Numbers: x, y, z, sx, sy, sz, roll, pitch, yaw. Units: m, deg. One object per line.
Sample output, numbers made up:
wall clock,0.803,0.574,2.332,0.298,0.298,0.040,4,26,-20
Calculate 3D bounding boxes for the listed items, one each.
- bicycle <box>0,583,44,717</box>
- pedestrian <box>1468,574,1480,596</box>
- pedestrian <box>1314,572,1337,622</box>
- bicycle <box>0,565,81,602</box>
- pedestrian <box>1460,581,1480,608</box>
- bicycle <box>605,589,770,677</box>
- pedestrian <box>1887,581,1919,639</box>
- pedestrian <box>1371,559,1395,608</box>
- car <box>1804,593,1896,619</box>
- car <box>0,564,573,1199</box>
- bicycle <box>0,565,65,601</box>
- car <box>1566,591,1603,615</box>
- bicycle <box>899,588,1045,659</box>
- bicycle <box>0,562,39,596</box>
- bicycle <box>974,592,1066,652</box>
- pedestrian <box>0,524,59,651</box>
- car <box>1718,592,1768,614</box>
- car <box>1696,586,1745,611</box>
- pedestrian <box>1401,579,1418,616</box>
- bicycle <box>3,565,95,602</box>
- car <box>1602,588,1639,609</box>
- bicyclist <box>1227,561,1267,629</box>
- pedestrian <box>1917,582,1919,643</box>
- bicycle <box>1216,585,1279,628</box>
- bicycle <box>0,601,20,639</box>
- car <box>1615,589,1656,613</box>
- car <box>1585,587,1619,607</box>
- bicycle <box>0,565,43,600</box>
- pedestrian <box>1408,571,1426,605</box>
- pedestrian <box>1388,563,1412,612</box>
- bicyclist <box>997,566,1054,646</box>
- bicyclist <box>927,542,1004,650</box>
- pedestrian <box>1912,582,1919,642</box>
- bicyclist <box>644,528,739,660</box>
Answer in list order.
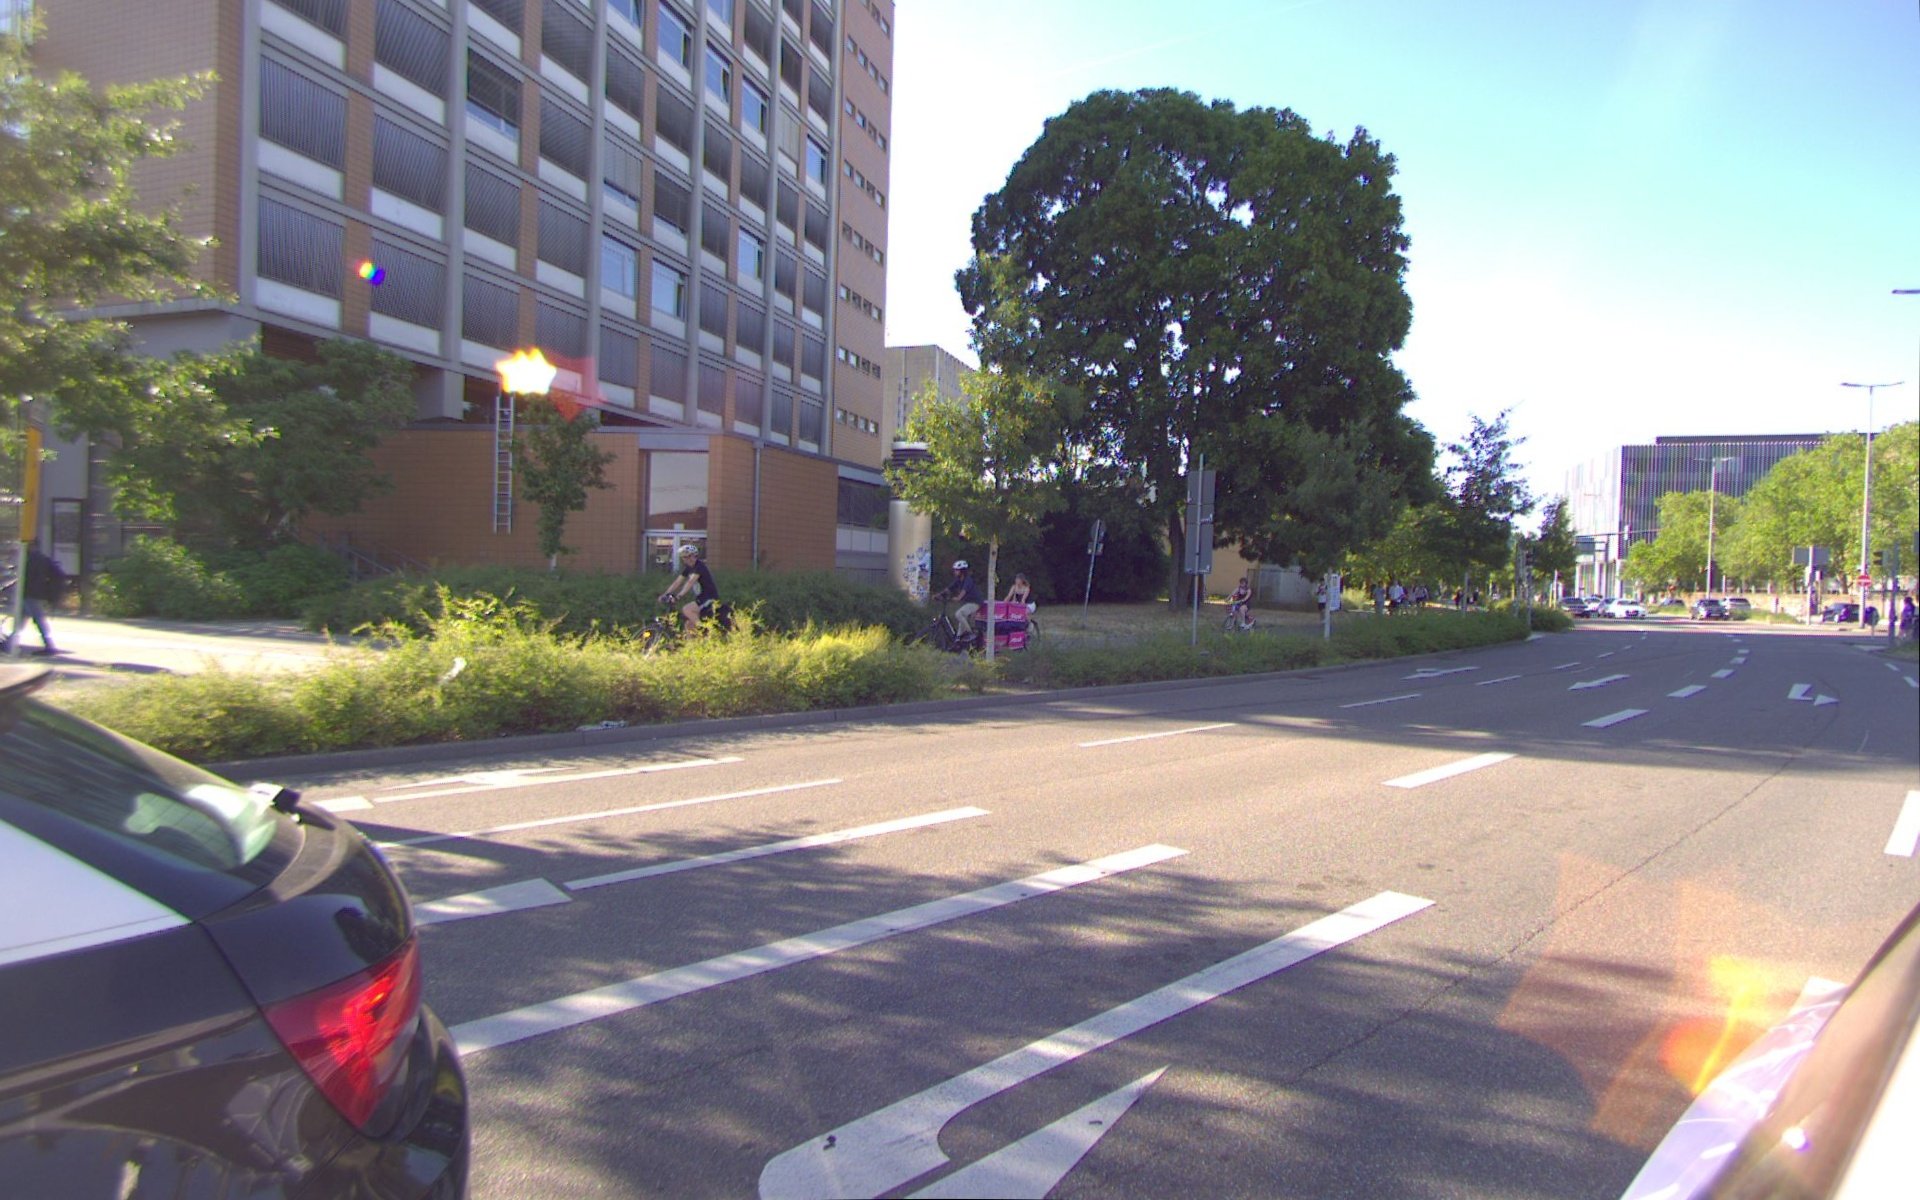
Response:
bicycle,-9.591,0.451,8.906,2.252,1.169,0.779,0,4,-42
pedestrian,40.853,-1.197,80.422,0.705,1.734,0.728,2,1,24
pedestrian,12.966,-0.106,35.884,0.618,1.720,0.623,2,1,32
bicycle,-22.976,-0.417,25.175,0.522,0.868,1.644,2,1,19
pedestrian,34.461,-0.358,68.422,1.005,1.771,0.845,2,1,18
bicycle,-3.952,0.438,14.825,0.778,1.170,2.255,3,2,43
pedestrian,29.812,0.312,31.780,0.923,1.762,0.746,2,2,39
pedestrian,16.839,-0.662,40.314,0.609,1.892,0.578,1,1,-15
car,59.711,0.410,68.006,2.155,1.606,4.604,2,0,2
car,-2.642,0.681,0.921,3.910,1.462,1.803,0,0,-42
bicycle,-23.528,-0.436,25.335,0.522,0.868,1.644,2,1,19
car,43.990,0.215,71.327,1.786,1.538,3.963,2,2,27
bicycle,0.229,0.406,18.004,2.529,1.170,0.781,1,2,-30
bicycle,-24.945,-0.558,26.156,0.522,0.868,1.644,2,1,19
bicycle,1.226,0.447,20.339,1.835,1.135,0.718,2,-1,-41
pedestrian,-12.949,-0.163,13.795,0.774,1.680,0.810,0,-1,-24
car,65.058,0.246,84.139,2.172,1.705,4.568,2,0,24
car,51.465,-0.128,68.525,1.907,1.538,3.981,2,2,27
pedestrian,20.227,-0.121,45.554,0.616,1.594,0.634,2,1,24
bicycle,-22.454,-0.411,24.987,0.522,0.868,1.644,2,1,19
car,50.619,-0.132,77.631,1.907,1.538,3.981,2,2,27
bicyclist,7.871,-0.135,27.742,0.835,1.810,0.716,0,0,-43
pedestrian,28.449,0.382,29.346,0.923,1.762,0.746,2,1,39
bicycle,7.888,0.155,27.748,2.032,1.135,0.718,0,0,-43
bicycle,-14.701,0.299,14.794,0.428,0.546,1.340,4,2,35
car,47.426,0.028,71.094,1.786,1.538,4.391,2,2,27
car,53.124,-0.245,83.792,1.907,1.538,3.981,2,2,27
bicycle,-24.157,-0.443,25.399,0.522,0.868,1.644,2,1,19
pedestrian,23.309,-0.621,51.609,0.667,1.725,0.872,2,1,18
pedestrian,17.288,-0.486,39.769,0.609,1.892,0.578,1,1,-15
bicyclist,1.318,0.128,20.415,0.834,1.568,0.716,3,-1,-40
bicyclist,0.095,-0.076,17.896,1.071,1.856,0.781,1,1,-30
pedestrian,28.928,0.372,29.996,0.923,1.762,0.746,2,1,39
bicyclist,-3.930,-0.098,14.822,0.778,1.853,1.076,3,2,43
